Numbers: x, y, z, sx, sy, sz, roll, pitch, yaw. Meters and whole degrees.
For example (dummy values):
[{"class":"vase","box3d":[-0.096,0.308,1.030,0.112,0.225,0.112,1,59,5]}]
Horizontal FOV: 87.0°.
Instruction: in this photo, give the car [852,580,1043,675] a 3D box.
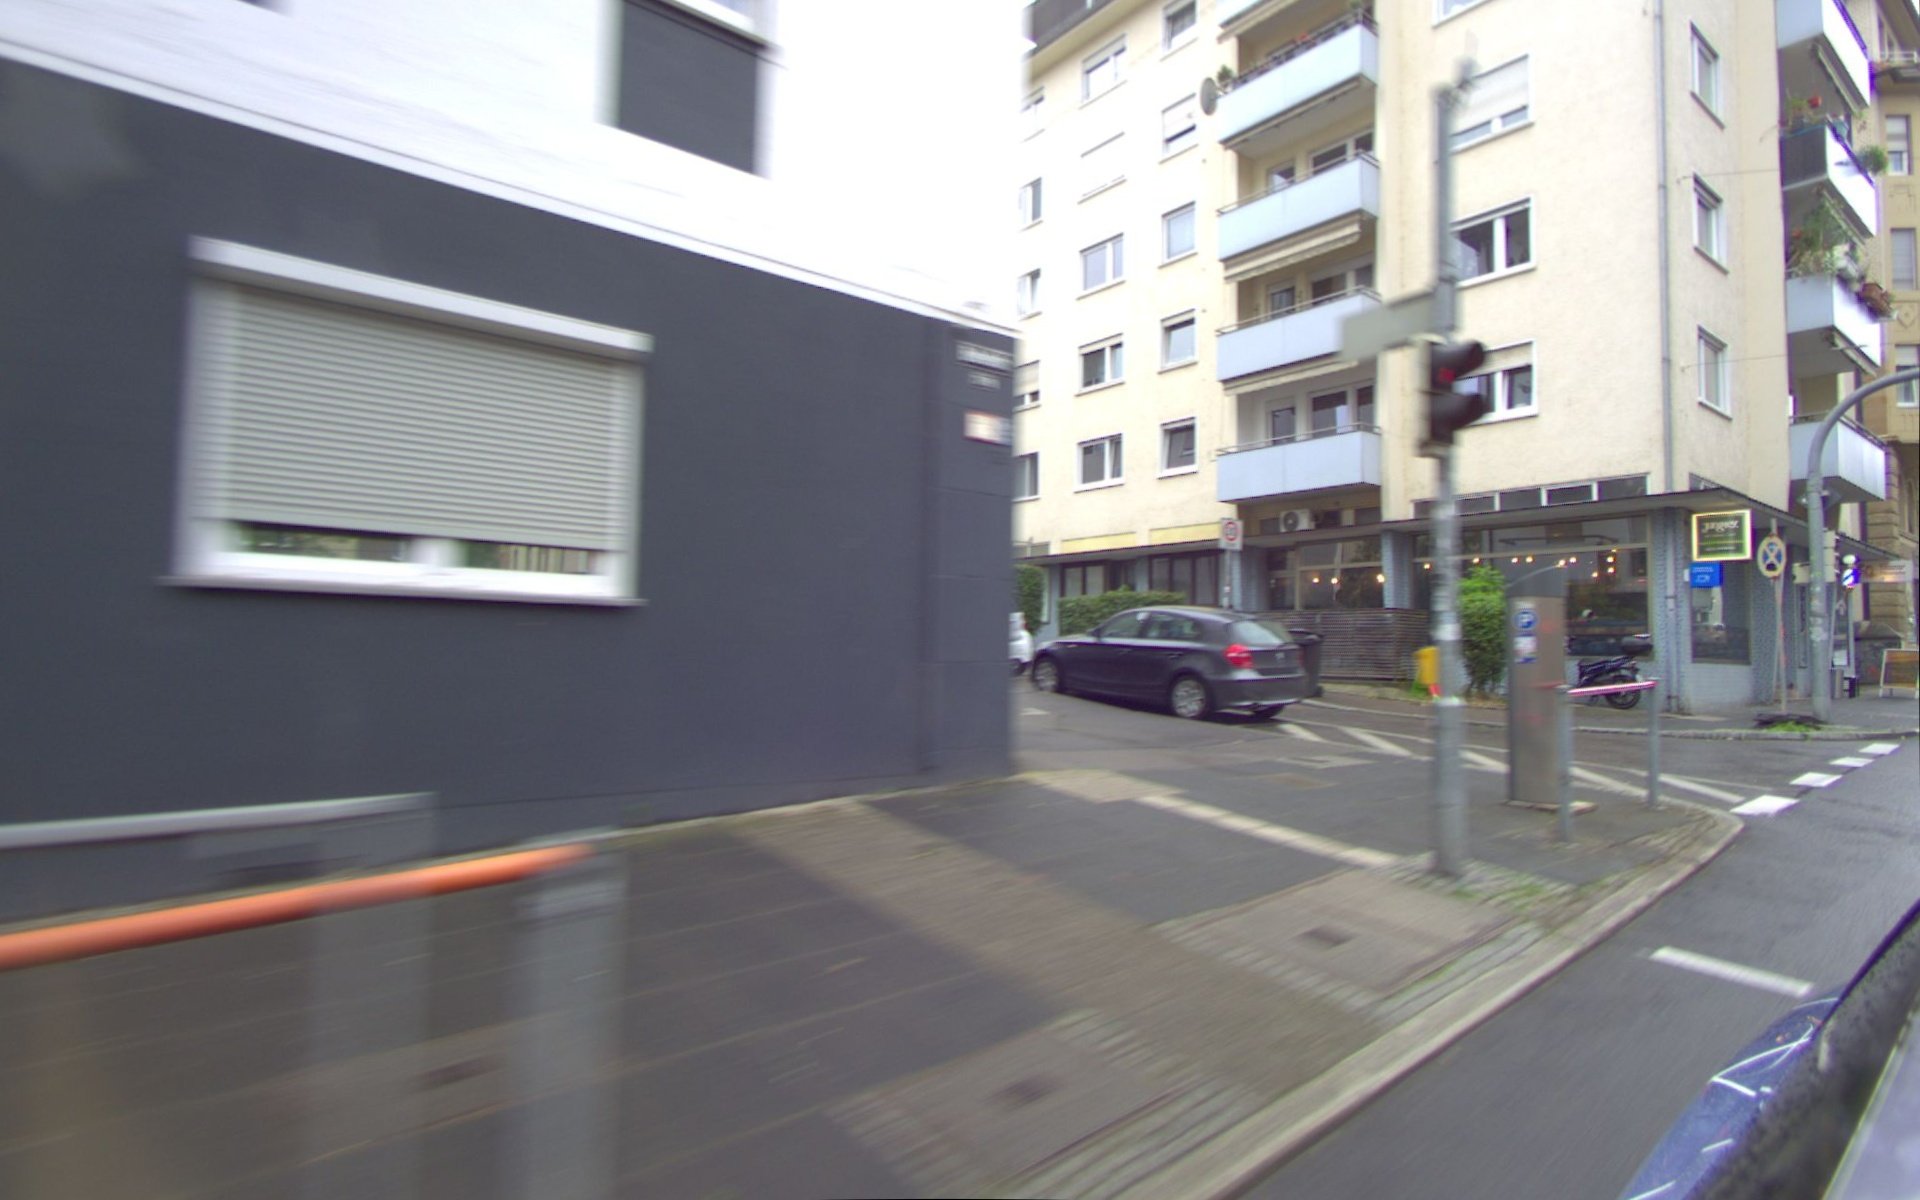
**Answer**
[{"class":"car","box3d":[-0.338,0.401,18.235,1.440,1.521,4.000,0,1,-35]}]

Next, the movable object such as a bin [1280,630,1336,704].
[{"class":"movable object such as a bin","box3d":[5.870,1.111,17.064,0.721,1.195,0.600,0,-1,-42]}]

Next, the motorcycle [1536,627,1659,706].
[{"class":"motorcycle","box3d":[10.805,1.097,17.197,0.589,1.176,1.649,0,2,-36]}]

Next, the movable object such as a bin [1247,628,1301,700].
[{"class":"movable object such as a bin","box3d":[5.439,1.089,17.541,0.724,1.189,0.594,0,-1,-42]}]

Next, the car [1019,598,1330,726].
[{"class":"car","box3d":[2.764,0.726,13.824,1.728,1.432,3.998,1,0,-37]}]
